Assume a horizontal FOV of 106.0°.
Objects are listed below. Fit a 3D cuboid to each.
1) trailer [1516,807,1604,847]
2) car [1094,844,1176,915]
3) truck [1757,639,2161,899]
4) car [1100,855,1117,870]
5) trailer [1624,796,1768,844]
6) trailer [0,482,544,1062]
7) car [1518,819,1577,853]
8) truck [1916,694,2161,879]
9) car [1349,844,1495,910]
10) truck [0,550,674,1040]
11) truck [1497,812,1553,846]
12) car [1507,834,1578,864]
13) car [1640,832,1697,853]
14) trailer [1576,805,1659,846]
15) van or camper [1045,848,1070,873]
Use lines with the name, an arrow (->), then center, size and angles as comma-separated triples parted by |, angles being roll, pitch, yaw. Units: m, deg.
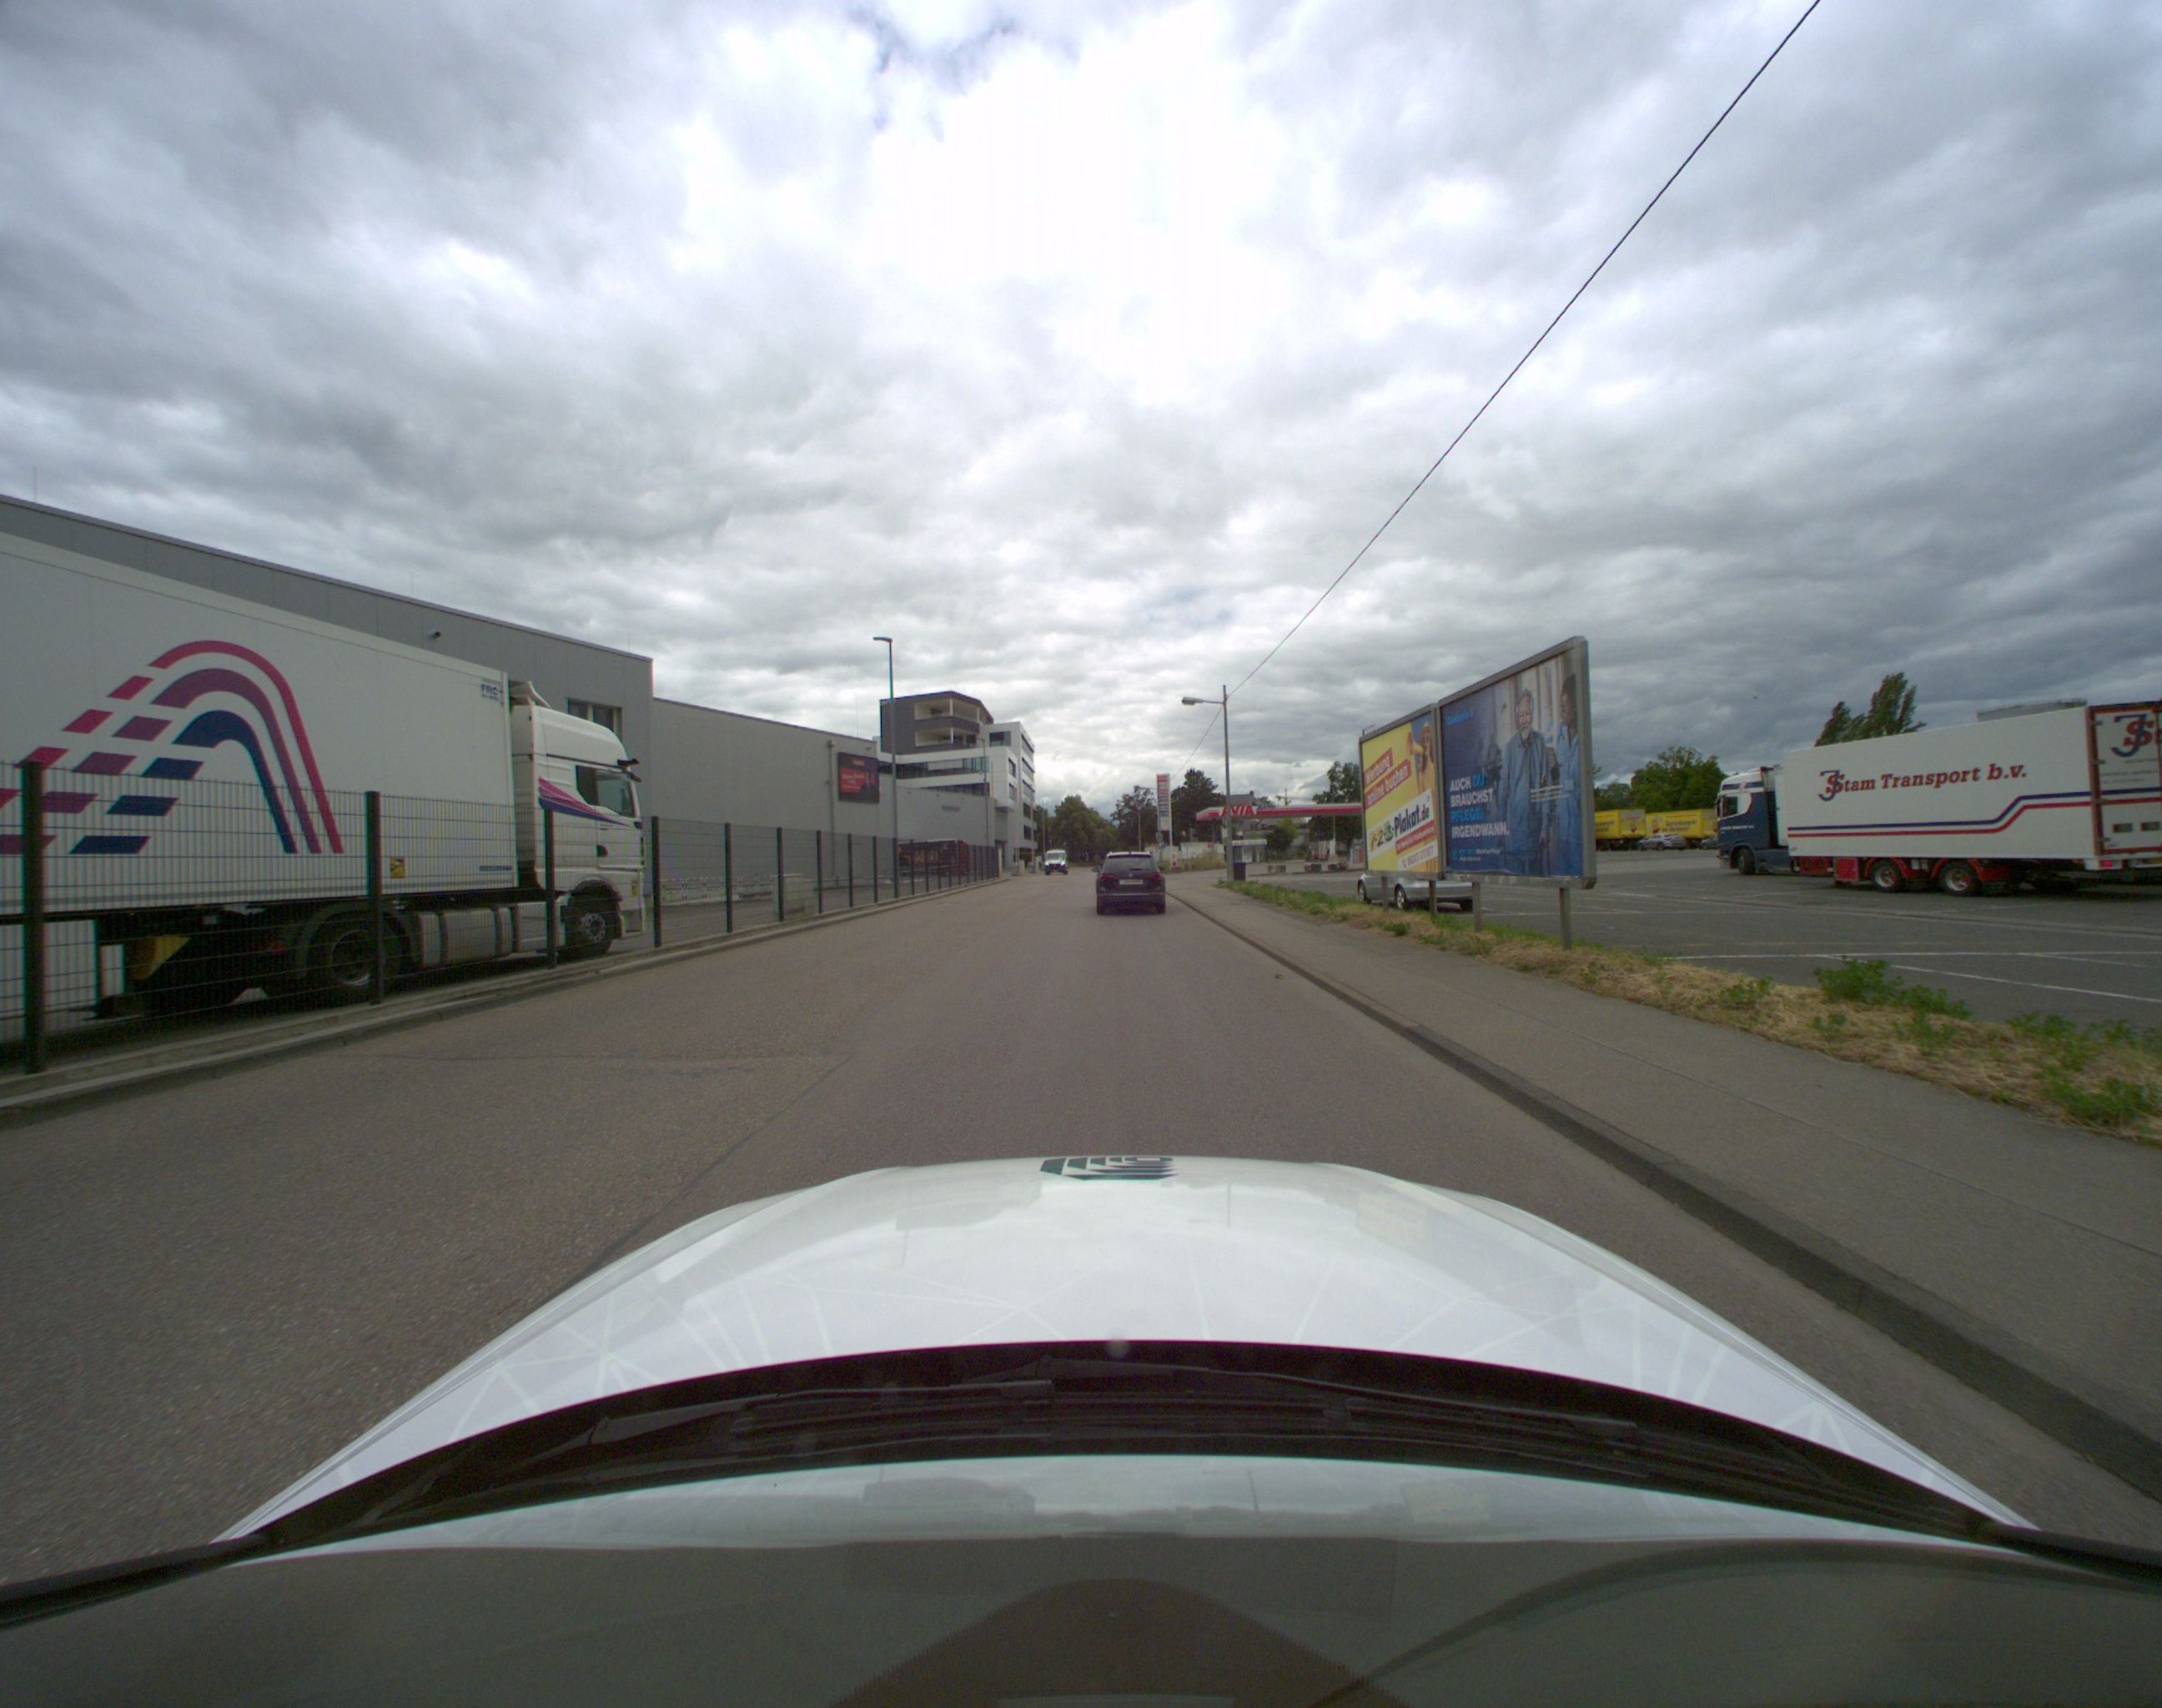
trailer -> 47.411, -2.540, 81.062 | 3.021, 3.627, 10.143 | -2, 1, 2
car -> 1.408, 0.655, 22.471 | 1.986, 1.684, 4.372 | -2, -1, 2
truck -> 21.966, -1.725, 20.362 | 3.293, 5.093, 8.522 | -2, 0, 4
car -> 3.458, 0.996, 101.557 | 1.987, 1.684, 4.372 | -2, 1, 1
trailer -> 59.369, -3.082, 79.472 | 2.859, 4.150, 14.925 | -2, 1, 0
trailer -> -9.531, -0.501, 4.108 | 3.119, 4.260, 14.035 | -6, -1, 4
car -> 39.188, -1.483, 68.597 | 2.082, 2.647, 5.374 | -2, 0, 3
truck -> 26.110, -1.577, 19.723 | 3.293, 4.145, 8.522 | -2, 0, 4
car -> 8.168, 0.521, 19.983 | 1.882, 1.445, 4.430 | 0, 0, 2
truck -> -9.014, -0.435, 10.640 | 3.114, 4.116, 6.950 | -6, -1, 4
truck -> 47.563, -2.641, 87.342 | 3.021, 3.462, 5.508 | -2, 1, 2
car -> 28.691, -0.299, 50.737 | 1.987, 1.706, 4.187 | -2, 0, 0
car -> 49.455, -0.986, 68.638 | 1.986, 1.618, 3.946 | -2, 1, 2
trailer -> 51.309, -2.673, 78.193 | 3.003, 3.693, 7.492 | -2, 1, 0
van or camper -> -2.210, 0.624, 77.599 | 1.986, 2.256, 4.001 | -2, 0, 1
